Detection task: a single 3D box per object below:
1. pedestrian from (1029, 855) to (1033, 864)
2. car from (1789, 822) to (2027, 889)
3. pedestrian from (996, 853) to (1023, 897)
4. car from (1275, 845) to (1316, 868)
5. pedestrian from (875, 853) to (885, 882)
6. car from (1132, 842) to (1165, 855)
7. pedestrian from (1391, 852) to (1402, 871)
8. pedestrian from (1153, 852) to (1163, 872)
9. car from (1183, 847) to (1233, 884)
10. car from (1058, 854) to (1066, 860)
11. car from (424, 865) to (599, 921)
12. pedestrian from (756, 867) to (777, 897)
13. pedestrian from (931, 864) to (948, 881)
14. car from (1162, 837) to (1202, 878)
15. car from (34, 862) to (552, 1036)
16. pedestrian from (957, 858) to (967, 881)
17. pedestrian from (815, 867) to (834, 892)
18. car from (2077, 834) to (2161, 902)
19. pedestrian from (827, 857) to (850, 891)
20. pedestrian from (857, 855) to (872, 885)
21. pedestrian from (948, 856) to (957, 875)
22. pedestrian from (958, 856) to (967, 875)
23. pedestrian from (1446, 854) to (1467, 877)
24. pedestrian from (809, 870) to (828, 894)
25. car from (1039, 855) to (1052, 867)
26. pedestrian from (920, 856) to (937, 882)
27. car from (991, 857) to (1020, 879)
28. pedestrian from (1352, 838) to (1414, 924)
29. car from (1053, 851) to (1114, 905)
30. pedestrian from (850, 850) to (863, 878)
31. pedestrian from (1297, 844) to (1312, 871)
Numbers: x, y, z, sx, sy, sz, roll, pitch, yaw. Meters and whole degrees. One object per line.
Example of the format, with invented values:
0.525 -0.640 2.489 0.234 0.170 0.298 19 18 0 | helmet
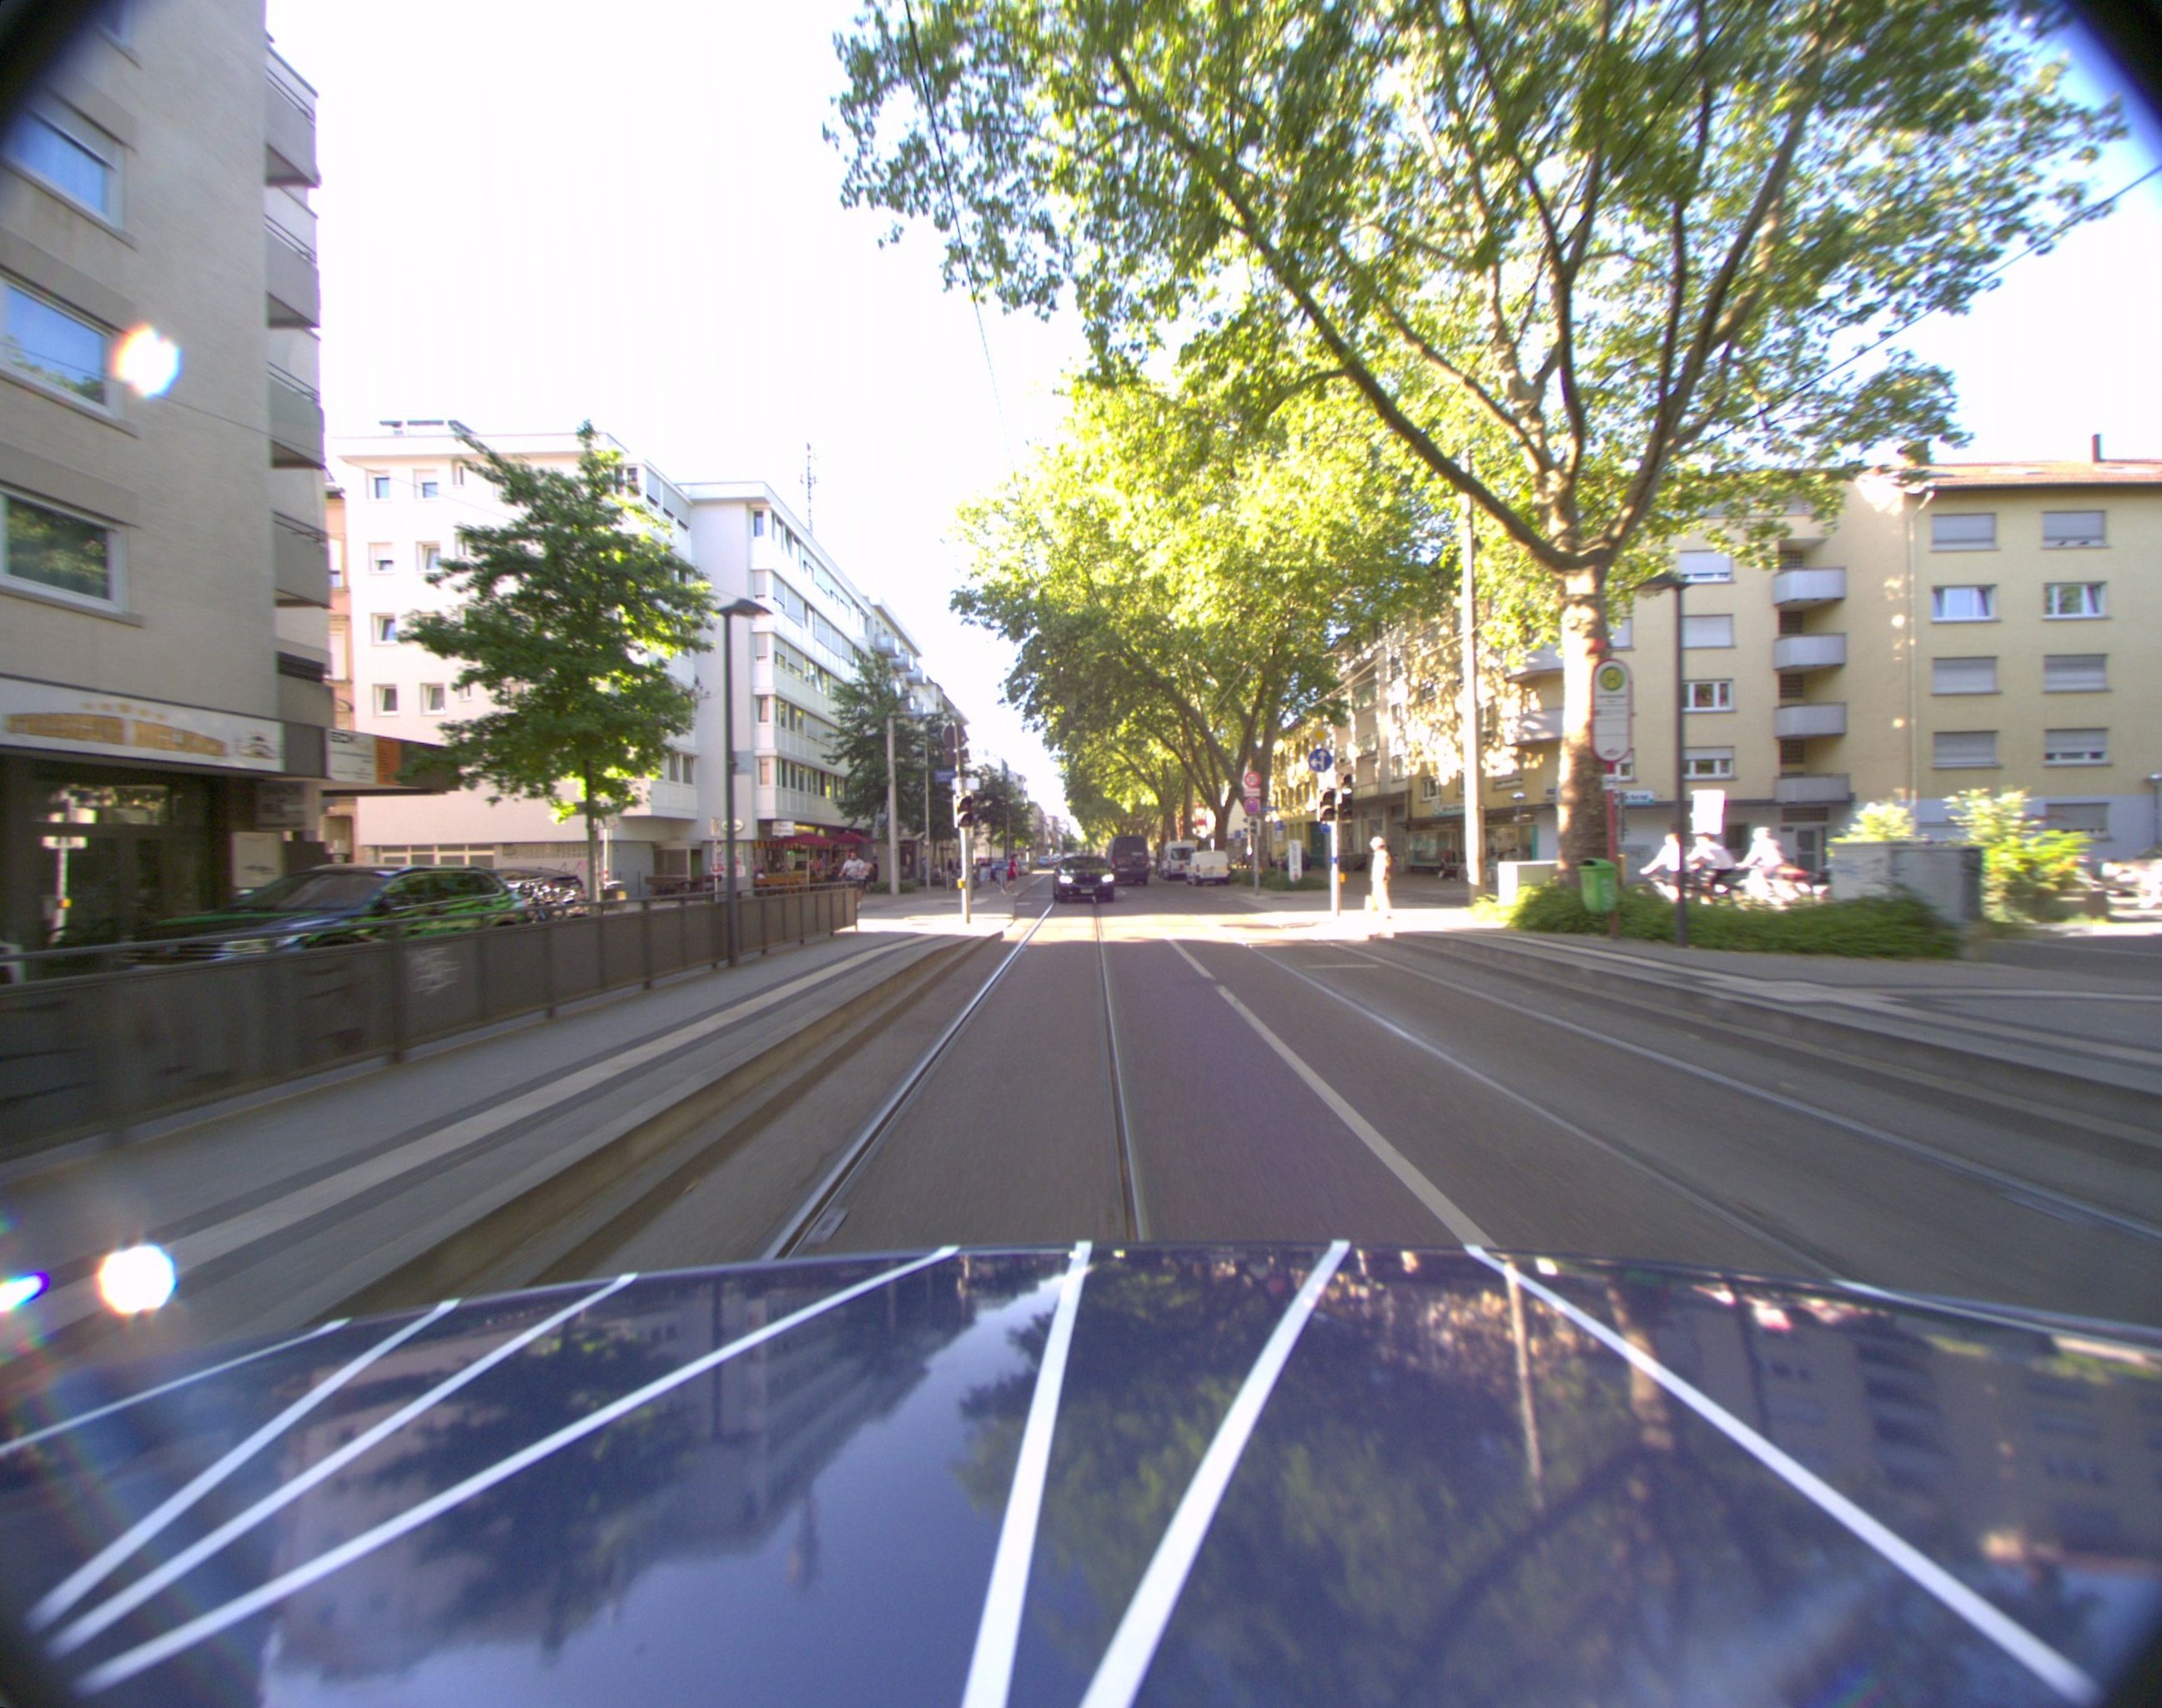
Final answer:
-9.445 1.071 143.148 0.697 1.685 0.678 -2 1 0 | pedestrian
21.283 0.032 19.696 3.997 1.499 2.000 -2 1 0 | car
-2.986 0.871 31.686 1.047 1.748 0.877 -2 1 -5 | pedestrian
17.328 0.176 61.570 1.998 1.723 4.897 -2 1 1 | car
-12.530 0.849 47.325 0.432 1.786 0.489 -2 1 -1 | pedestrian
11.195 -0.891 126.812 5.134 1.984 1.999 -2 1 -4 | car
18.045 0.428 43.474 0.421 1.099 0.437 -2 1 -9 | pedestrian
6.720 0.698 66.241 0.769 1.767 0.714 -2 1 13 | pedestrian
6.711 0.564 40.539 1.768 1.840 4.317 -2 1 -1 | car
-5.096 0.725 202.797 1.867 1.499 4.000 -2 1 1 | car
-18.929 1.267 25.405 4.259 1.583 1.966 -2 2 0 | car
-13.714 1.217 33.120 0.536 1.280 0.715 -2 1 2 | pedestrian
-8.987 1.167 48.353 1.002 1.021 0.660 -2 1 -13 | pedestrian
6.773 0.188 51.513 2.113 2.562 6.024 -2 1 3 | car
-9.516 0.988 9.907 1.998 1.606 4.445 -2 1 1 | car
-9.739 1.293 62.224 0.663 1.841 0.539 -2 1 -1 | pedestrian
-12.508 1.234 37.060 0.660 1.168 0.522 -2 1 -1 | pedestrian
28.974 0.305 19.617 3.997 1.652 1.960 -1 1 0 | car
-12.149 0.982 38.050 0.813 1.649 0.679 -2 1 8 | pedestrian
-13.137 0.948 46.155 0.525 1.795 0.633 -1 1 44 | pedestrian
-11.211 1.013 66.303 0.597 1.668 0.934 1 1 -2 | pedestrian
-10.379 0.999 66.338 0.643 1.628 0.869 1 0 -1 | pedestrian
17.832 0.535 36.081 0.580 1.041 0.711 -2 1 -1 | pedestrian
-12.407 1.327 35.905 0.643 1.072 0.522 -2 1 -1 | pedestrian
-6.216 1.168 132.791 1.958 1.914 4.000 -2 1 1 | car
-10.426 1.017 51.910 0.992 1.774 0.593 -1 1 43 | pedestrian
-5.852 1.041 59.011 1.763 1.578 4.328 2 0 0 | car
6.664 0.574 16.783 0.926 1.825 0.920 -2 1 -3 | pedestrian
0.114 0.796 28.113 1.998 1.723 4.399 -3 1 1 | car
-12.906 0.568 43.675 0.508 1.619 0.517 -3 1 -37 | pedestrian
15.579 0.226 52.999 0.746 1.859 0.863 -2 1 -1 | pedestrian
